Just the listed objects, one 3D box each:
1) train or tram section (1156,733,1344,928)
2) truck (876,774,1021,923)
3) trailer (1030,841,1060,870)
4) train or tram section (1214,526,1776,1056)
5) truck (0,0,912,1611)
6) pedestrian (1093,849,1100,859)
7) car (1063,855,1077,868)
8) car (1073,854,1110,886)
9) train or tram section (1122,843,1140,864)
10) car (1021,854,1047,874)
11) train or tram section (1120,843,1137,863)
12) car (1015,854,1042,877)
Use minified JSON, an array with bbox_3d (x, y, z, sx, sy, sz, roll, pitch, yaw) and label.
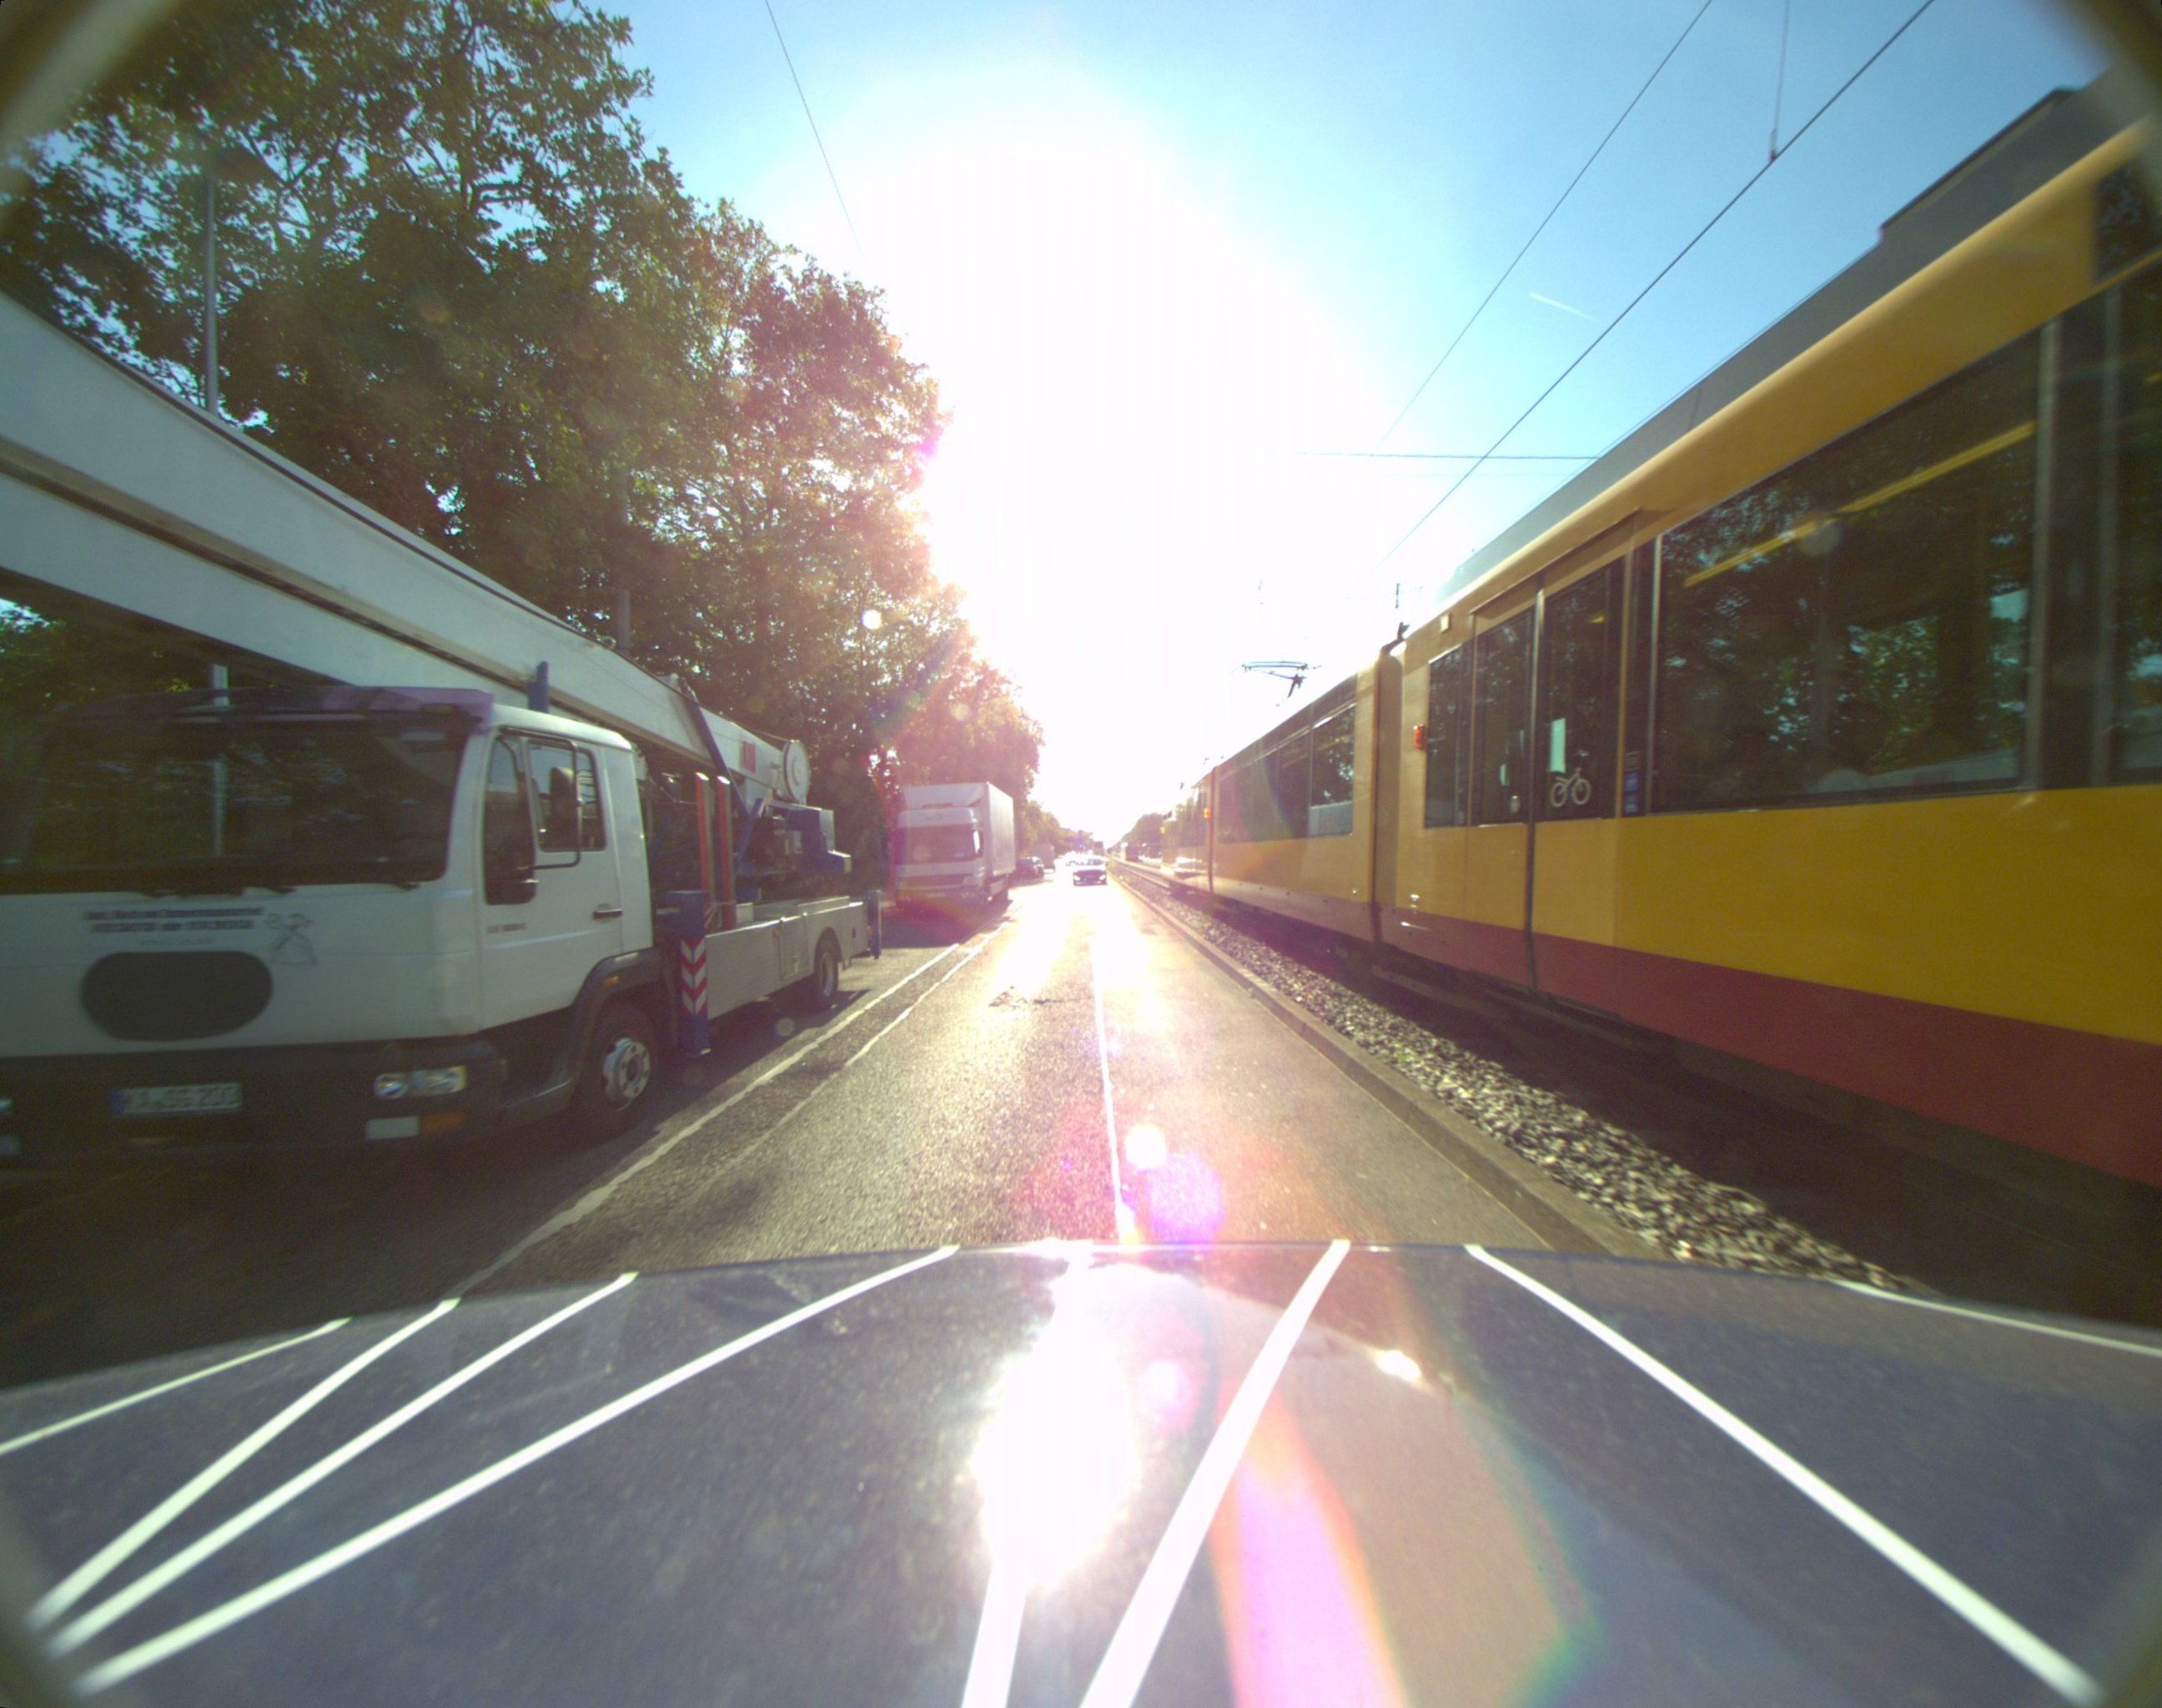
[{"bbox_3d":[4.199,-0.507,22.644,2.728,4.067,13.615,0,0,1],"label":"train or tram section"},{"bbox_3d":[-3.833,-0.160,24.744,2.749,3.761,10.088,-2,0,0],"label":"truck"},{"bbox_3d":[-3.403,0.114,73.254,2.256,2.679,5.948,-1,0,4],"label":"trailer"},{"bbox_3d":[4.034,-0.493,10.803,2.701,4.065,9.910,0,0,1],"label":"train or tram section"},{"bbox_3d":[-3.787,-0.179,5.803,2.724,3.761,9.760,0,0,0],"label":"truck"},{"bbox_3d":[2.522,0.014,122.222,0.760,1.485,0.696,-1,1,34],"label":"pedestrian"},{"bbox_3d":[-1.418,0.918,99.166,1.784,1.586,4.000,-1,0,1],"label":"car"},{"bbox_3d":[0.584,0.769,39.099,1.786,1.530,4.000,-1,0,3],"label":"car"},{"bbox_3d":[9.406,-0.155,145.050,2.834,3.665,12.968,-2,0,2],"label":"train or tram section"},{"bbox_3d":[-3.766,0.787,61.329,1.813,1.448,4.165,-3,0,-1],"label":"car"},{"bbox_3d":[9.841,-0.288,159.477,2.834,3.982,15.874,-2,0,2],"label":"train or tram section"},{"bbox_3d":[-3.844,0.827,56.077,1.644,1.528,3.640,-3,0,1],"label":"car"}]
